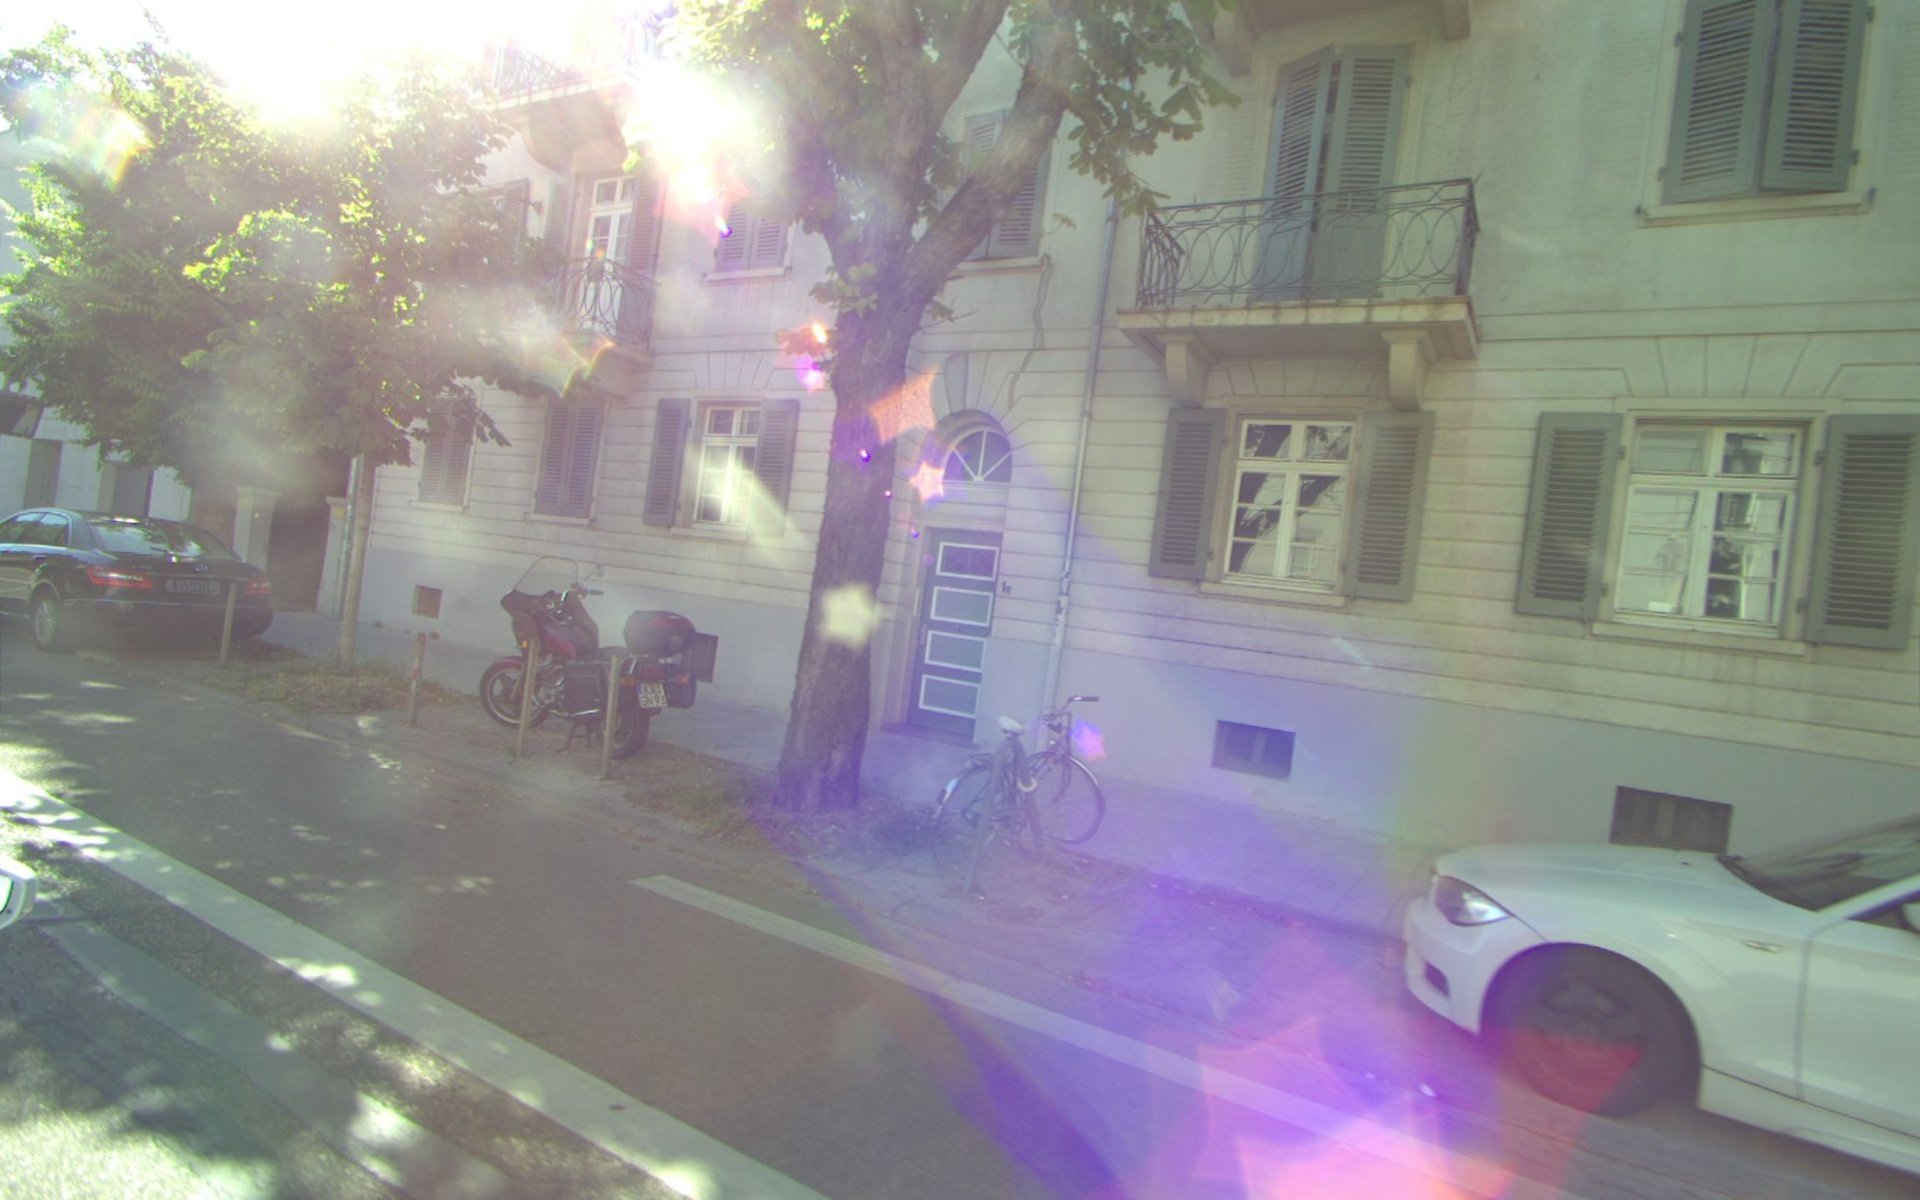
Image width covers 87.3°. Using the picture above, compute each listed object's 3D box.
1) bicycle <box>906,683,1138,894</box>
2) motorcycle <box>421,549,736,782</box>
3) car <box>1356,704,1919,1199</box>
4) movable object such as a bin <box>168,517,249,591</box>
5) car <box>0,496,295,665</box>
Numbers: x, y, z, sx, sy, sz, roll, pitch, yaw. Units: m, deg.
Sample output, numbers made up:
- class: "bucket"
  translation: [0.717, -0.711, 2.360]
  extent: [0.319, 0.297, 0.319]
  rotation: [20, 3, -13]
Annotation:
- class: "bicycle"
  translation: [0.449, 1.099, 6.331]
  extent: [0.674, 1.056, 1.622]
  rotation: [7, 0, 31]
- class: "motorcycle"
  translation: [-3.210, 0.471, 8.332]
  extent: [2.635, 1.507, 0.914]
  rotation: [7, 0, 32]
- class: "car"
  translation: [3.982, 1.427, 3.777]
  extent: [4.284, 1.399, 1.725]
  rotation: [7, 0, 33]
- class: "movable object such as a bin"
  translation: [-17.240, -1.048, 23.092]
  extent: [1.333, 1.480, 0.935]
  rotation: [7, -2, 32]
- class: "car"
  translation: [-10.076, -0.313, 11.627]
  extent: [4.734, 1.476, 1.825]
  rotation: [7, 0, 27]
